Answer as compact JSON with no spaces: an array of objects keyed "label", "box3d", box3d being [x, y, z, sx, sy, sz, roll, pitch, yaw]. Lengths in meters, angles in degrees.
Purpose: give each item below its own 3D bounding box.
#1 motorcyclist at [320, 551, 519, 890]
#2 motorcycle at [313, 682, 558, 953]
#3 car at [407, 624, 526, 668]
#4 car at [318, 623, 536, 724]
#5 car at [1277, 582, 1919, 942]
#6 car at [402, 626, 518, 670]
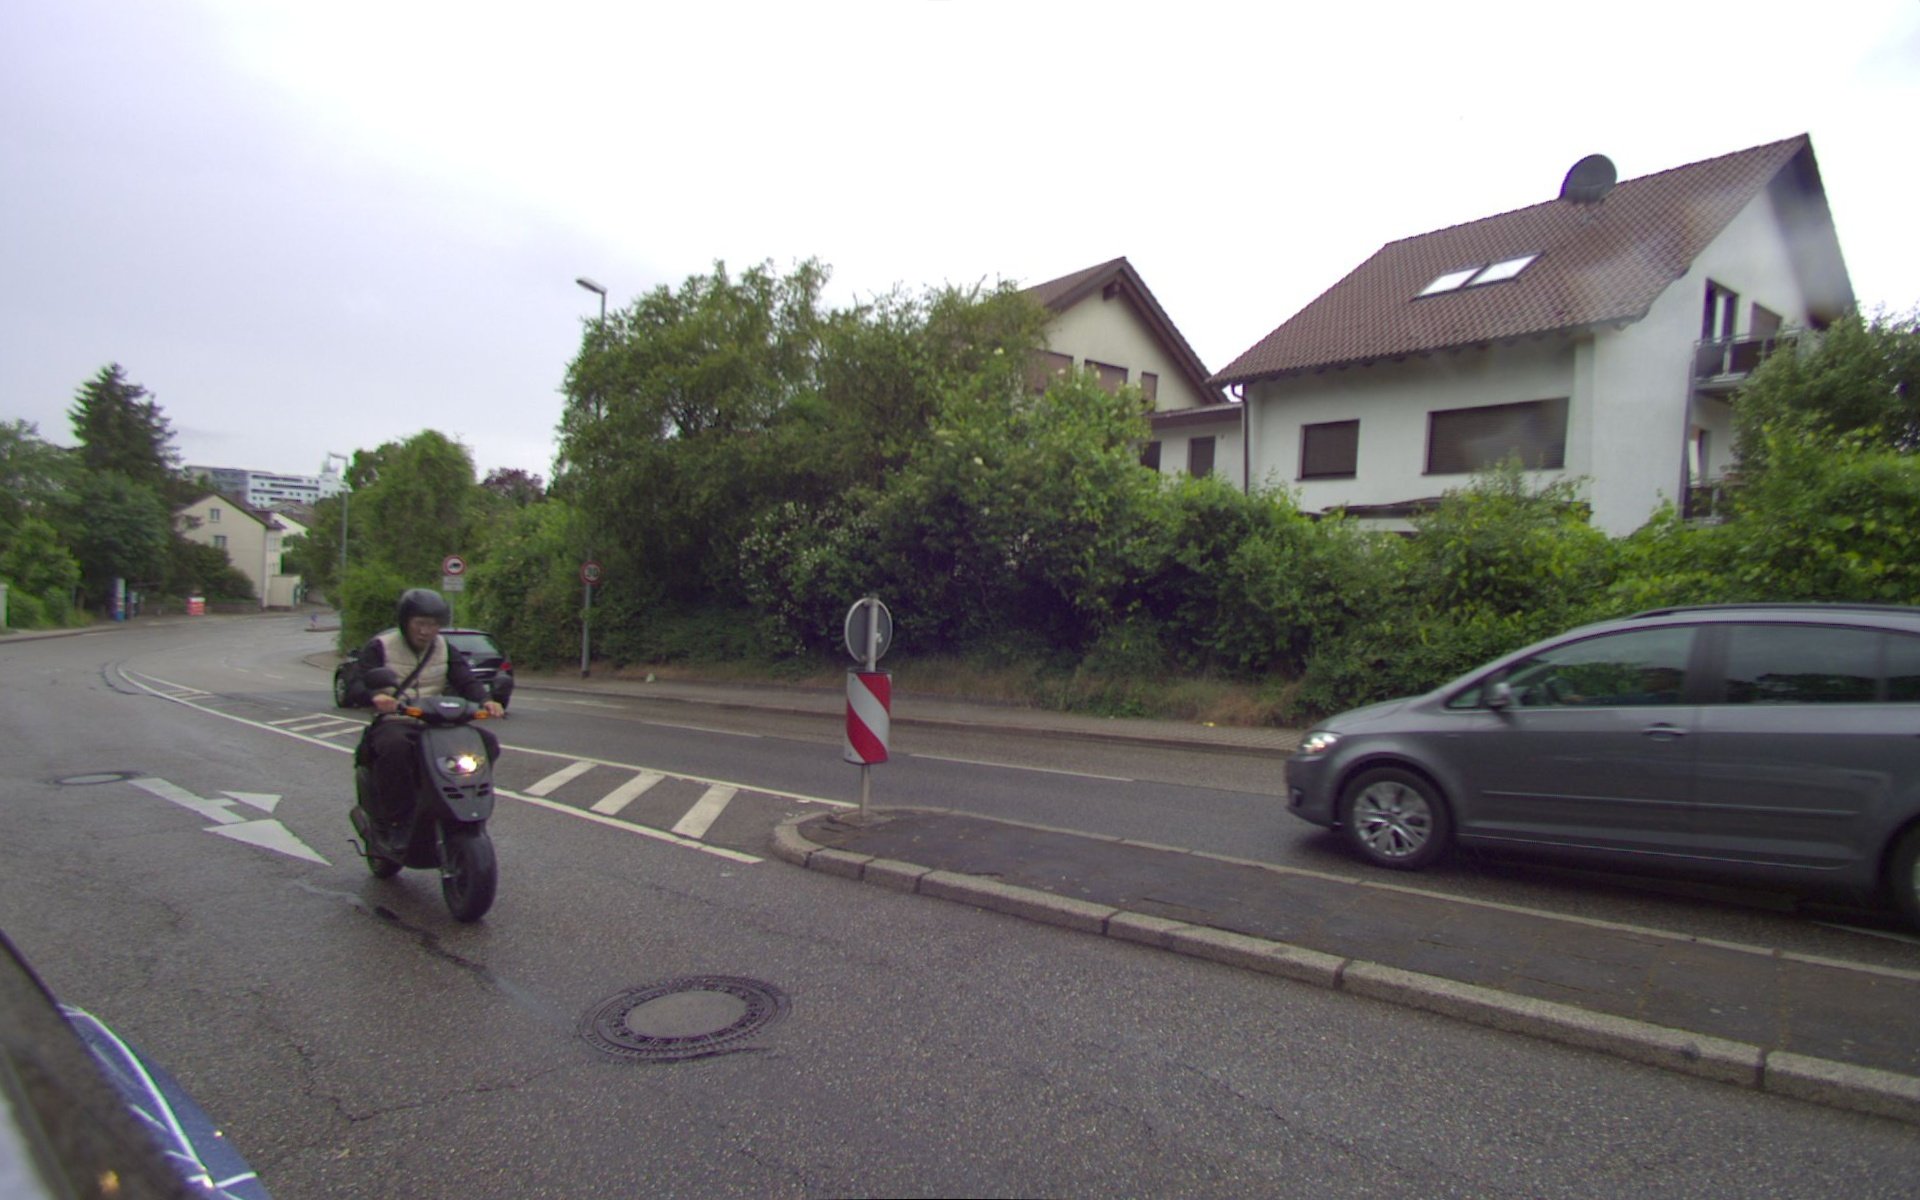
[{"label":"motorcyclist","box3d":[-2.908,0.598,5.448,0.756,1.655,0.675,3,-2,-43]},{"label":"motorcycle","box3d":[-2.827,1.035,5.362,0.682,1.061,1.749,3,-1,-43]},{"label":"car","box3d":[-19.507,1.772,40.092,3.853,1.451,1.814,-3,1,-41]},{"label":"car","box3d":[-9.158,1.171,17.278,3.996,1.521,1.876,-1,-3,40]},{"label":"car","box3d":[4.108,0.778,5.836,4.027,1.614,1.725,-1,-3,39]},{"label":"car","box3d":[-20.988,1.980,42.535,3.939,1.548,2.003,-3,1,-42]}]
